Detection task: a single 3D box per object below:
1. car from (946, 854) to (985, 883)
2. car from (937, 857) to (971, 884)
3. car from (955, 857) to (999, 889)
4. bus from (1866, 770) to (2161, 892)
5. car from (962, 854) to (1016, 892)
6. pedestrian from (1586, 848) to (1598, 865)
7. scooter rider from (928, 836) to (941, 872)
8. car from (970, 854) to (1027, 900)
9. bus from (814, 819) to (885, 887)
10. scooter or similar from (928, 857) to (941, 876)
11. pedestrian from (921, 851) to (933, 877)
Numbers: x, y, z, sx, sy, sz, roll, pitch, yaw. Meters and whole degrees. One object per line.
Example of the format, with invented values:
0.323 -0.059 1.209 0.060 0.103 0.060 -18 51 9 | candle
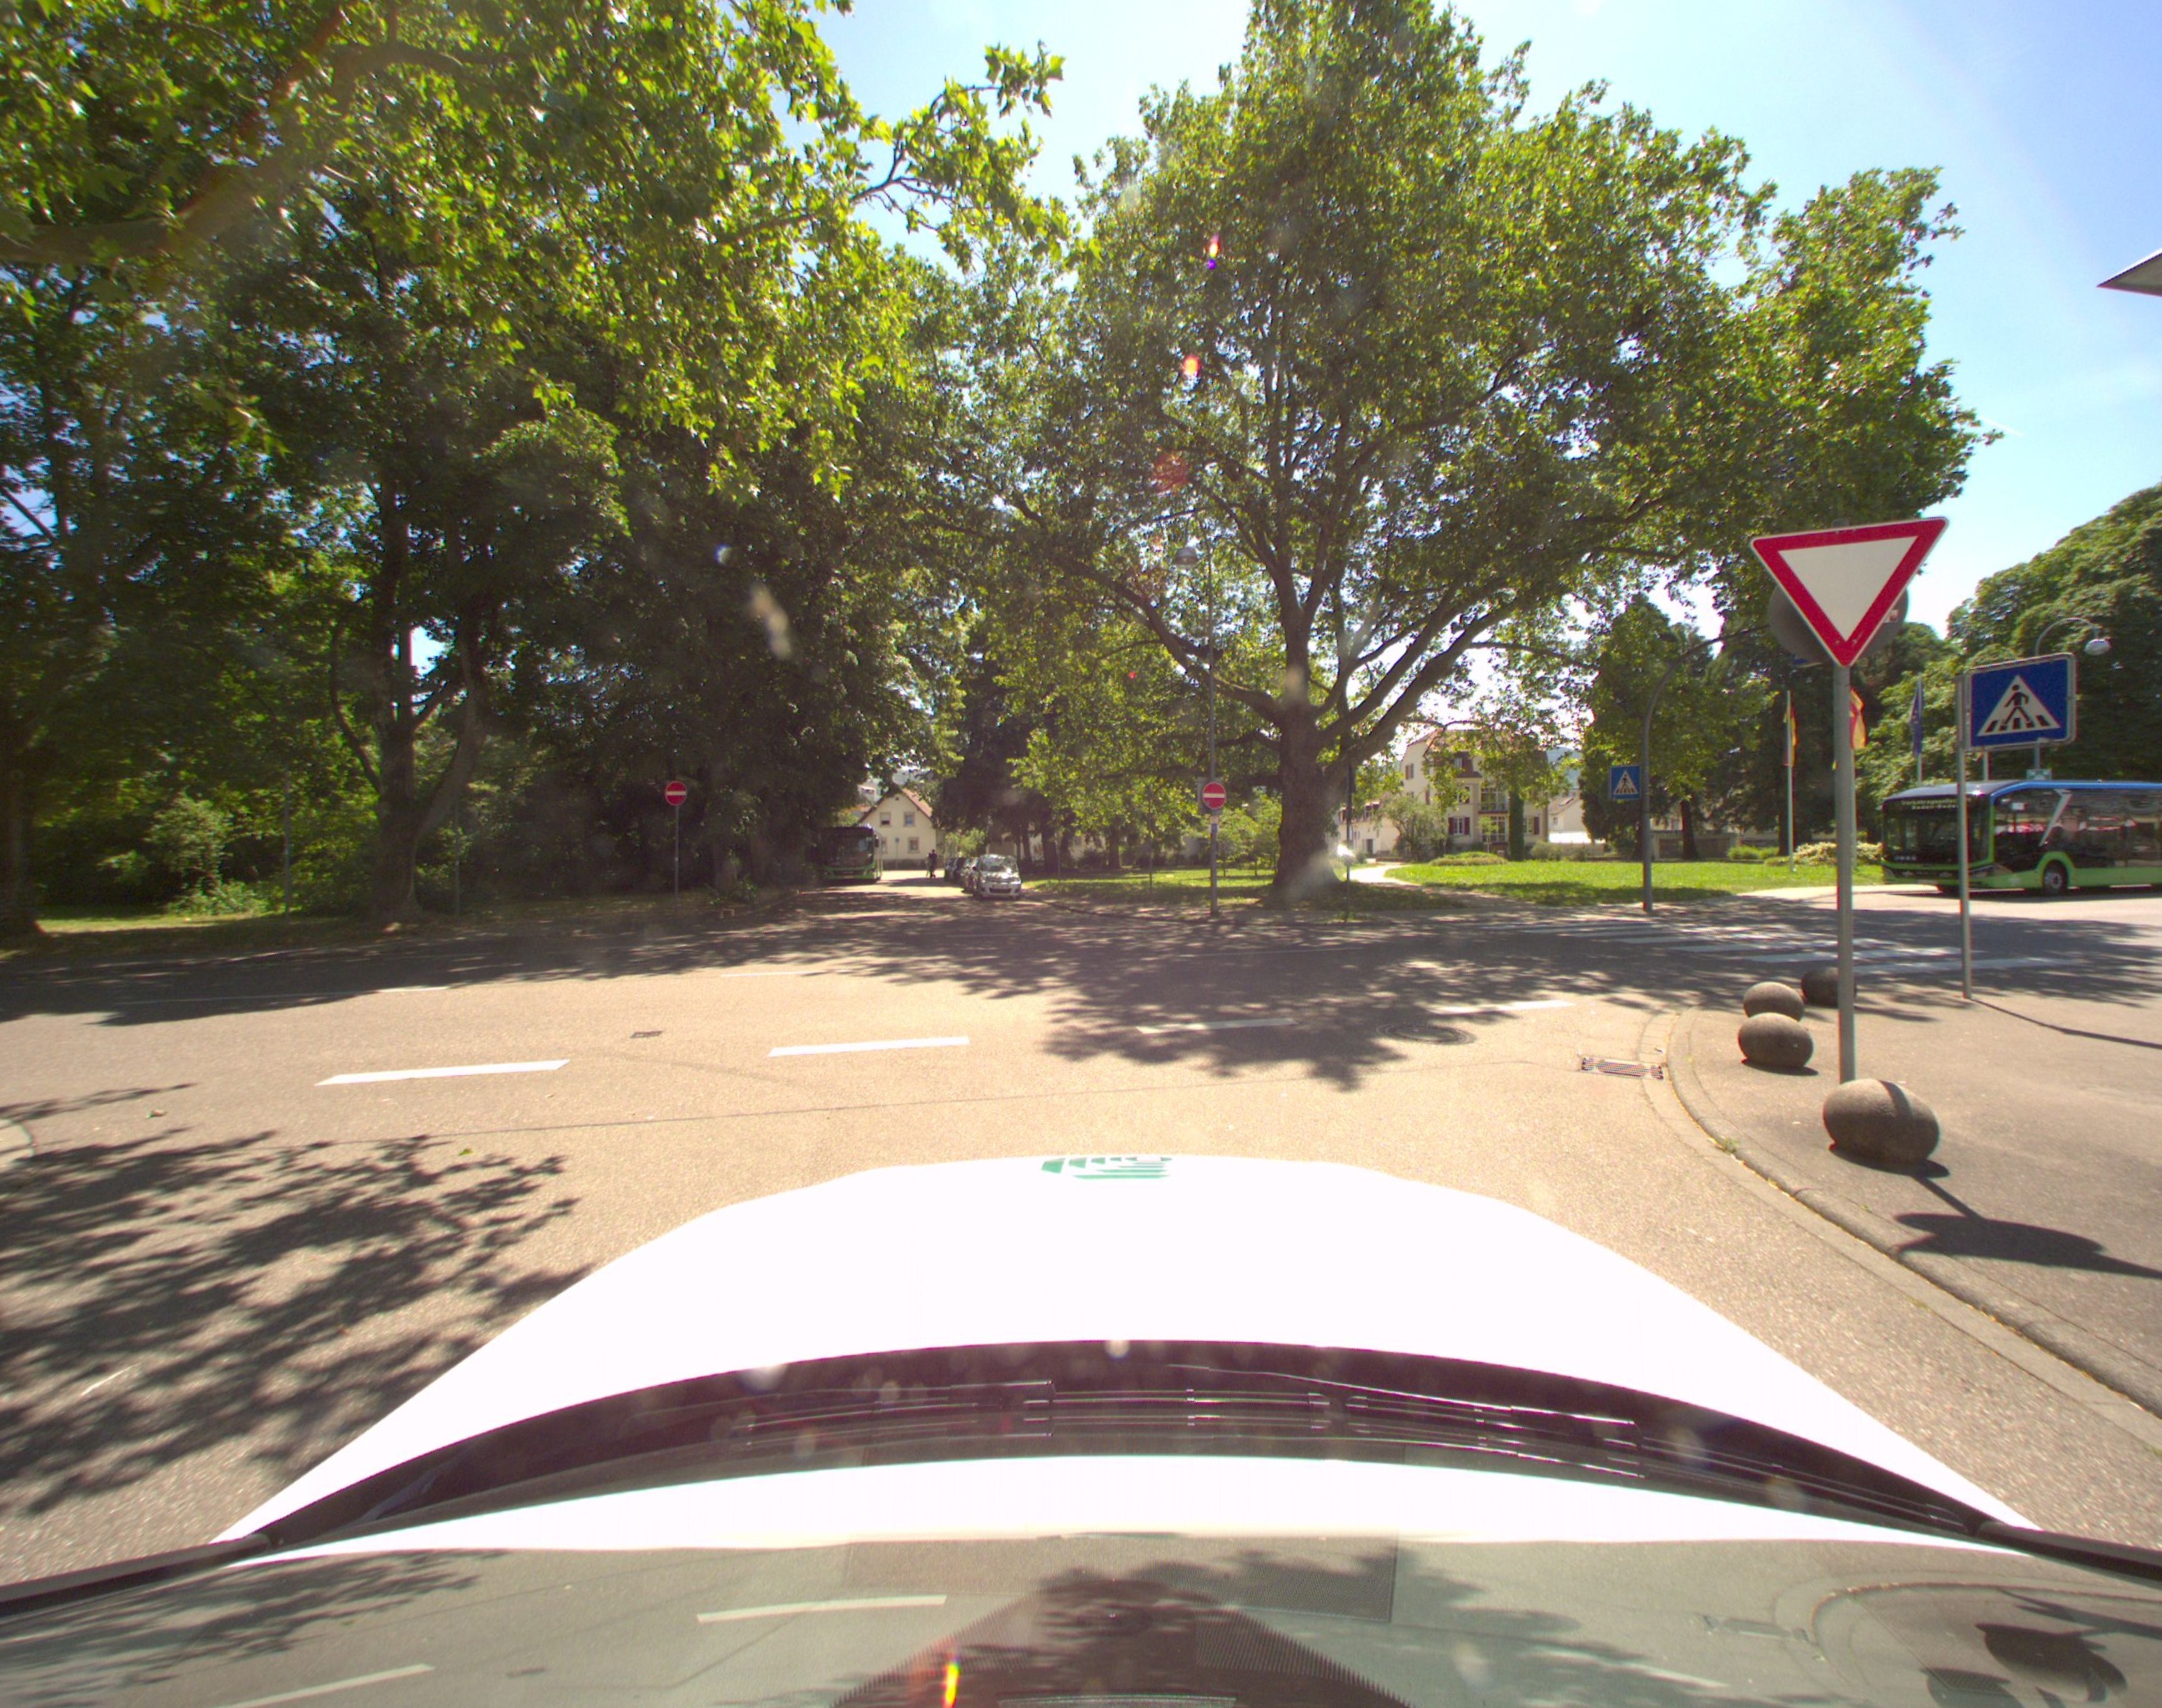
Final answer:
-6.347 0.758 44.551 1.756 1.493 4.356 -1 0 -13 | car
-7.634 0.949 48.625 1.756 1.493 3.901 -1 0 -13 | car
-5.164 0.893 39.967 1.752 1.439 4.750 -1 0 -12 | car
30.152 -0.756 24.767 12.399 3.283 2.805 -1 0 -14 | bus
-3.839 0.737 33.452 1.752 1.439 4.484 0 0 -12 | car
43.266 0.216 68.977 0.817 1.370 0.622 2 3 37 | pedestrian
-9.623 0.019 53.403 0.739 2.317 0.923 -1 0 -11 | scooter rider
-2.909 0.746 28.156 1.596 1.497 3.471 0 0 -12 | car
-13.139 -0.069 47.465 2.870 3.295 15.883 -1 0 -12 | bus
-9.608 0.819 53.394 0.739 1.183 1.513 -1 0 -11 | scooter or similar
-10.641 0.679 56.315 0.719 1.802 0.939 -1 0 -7 | pedestrian
